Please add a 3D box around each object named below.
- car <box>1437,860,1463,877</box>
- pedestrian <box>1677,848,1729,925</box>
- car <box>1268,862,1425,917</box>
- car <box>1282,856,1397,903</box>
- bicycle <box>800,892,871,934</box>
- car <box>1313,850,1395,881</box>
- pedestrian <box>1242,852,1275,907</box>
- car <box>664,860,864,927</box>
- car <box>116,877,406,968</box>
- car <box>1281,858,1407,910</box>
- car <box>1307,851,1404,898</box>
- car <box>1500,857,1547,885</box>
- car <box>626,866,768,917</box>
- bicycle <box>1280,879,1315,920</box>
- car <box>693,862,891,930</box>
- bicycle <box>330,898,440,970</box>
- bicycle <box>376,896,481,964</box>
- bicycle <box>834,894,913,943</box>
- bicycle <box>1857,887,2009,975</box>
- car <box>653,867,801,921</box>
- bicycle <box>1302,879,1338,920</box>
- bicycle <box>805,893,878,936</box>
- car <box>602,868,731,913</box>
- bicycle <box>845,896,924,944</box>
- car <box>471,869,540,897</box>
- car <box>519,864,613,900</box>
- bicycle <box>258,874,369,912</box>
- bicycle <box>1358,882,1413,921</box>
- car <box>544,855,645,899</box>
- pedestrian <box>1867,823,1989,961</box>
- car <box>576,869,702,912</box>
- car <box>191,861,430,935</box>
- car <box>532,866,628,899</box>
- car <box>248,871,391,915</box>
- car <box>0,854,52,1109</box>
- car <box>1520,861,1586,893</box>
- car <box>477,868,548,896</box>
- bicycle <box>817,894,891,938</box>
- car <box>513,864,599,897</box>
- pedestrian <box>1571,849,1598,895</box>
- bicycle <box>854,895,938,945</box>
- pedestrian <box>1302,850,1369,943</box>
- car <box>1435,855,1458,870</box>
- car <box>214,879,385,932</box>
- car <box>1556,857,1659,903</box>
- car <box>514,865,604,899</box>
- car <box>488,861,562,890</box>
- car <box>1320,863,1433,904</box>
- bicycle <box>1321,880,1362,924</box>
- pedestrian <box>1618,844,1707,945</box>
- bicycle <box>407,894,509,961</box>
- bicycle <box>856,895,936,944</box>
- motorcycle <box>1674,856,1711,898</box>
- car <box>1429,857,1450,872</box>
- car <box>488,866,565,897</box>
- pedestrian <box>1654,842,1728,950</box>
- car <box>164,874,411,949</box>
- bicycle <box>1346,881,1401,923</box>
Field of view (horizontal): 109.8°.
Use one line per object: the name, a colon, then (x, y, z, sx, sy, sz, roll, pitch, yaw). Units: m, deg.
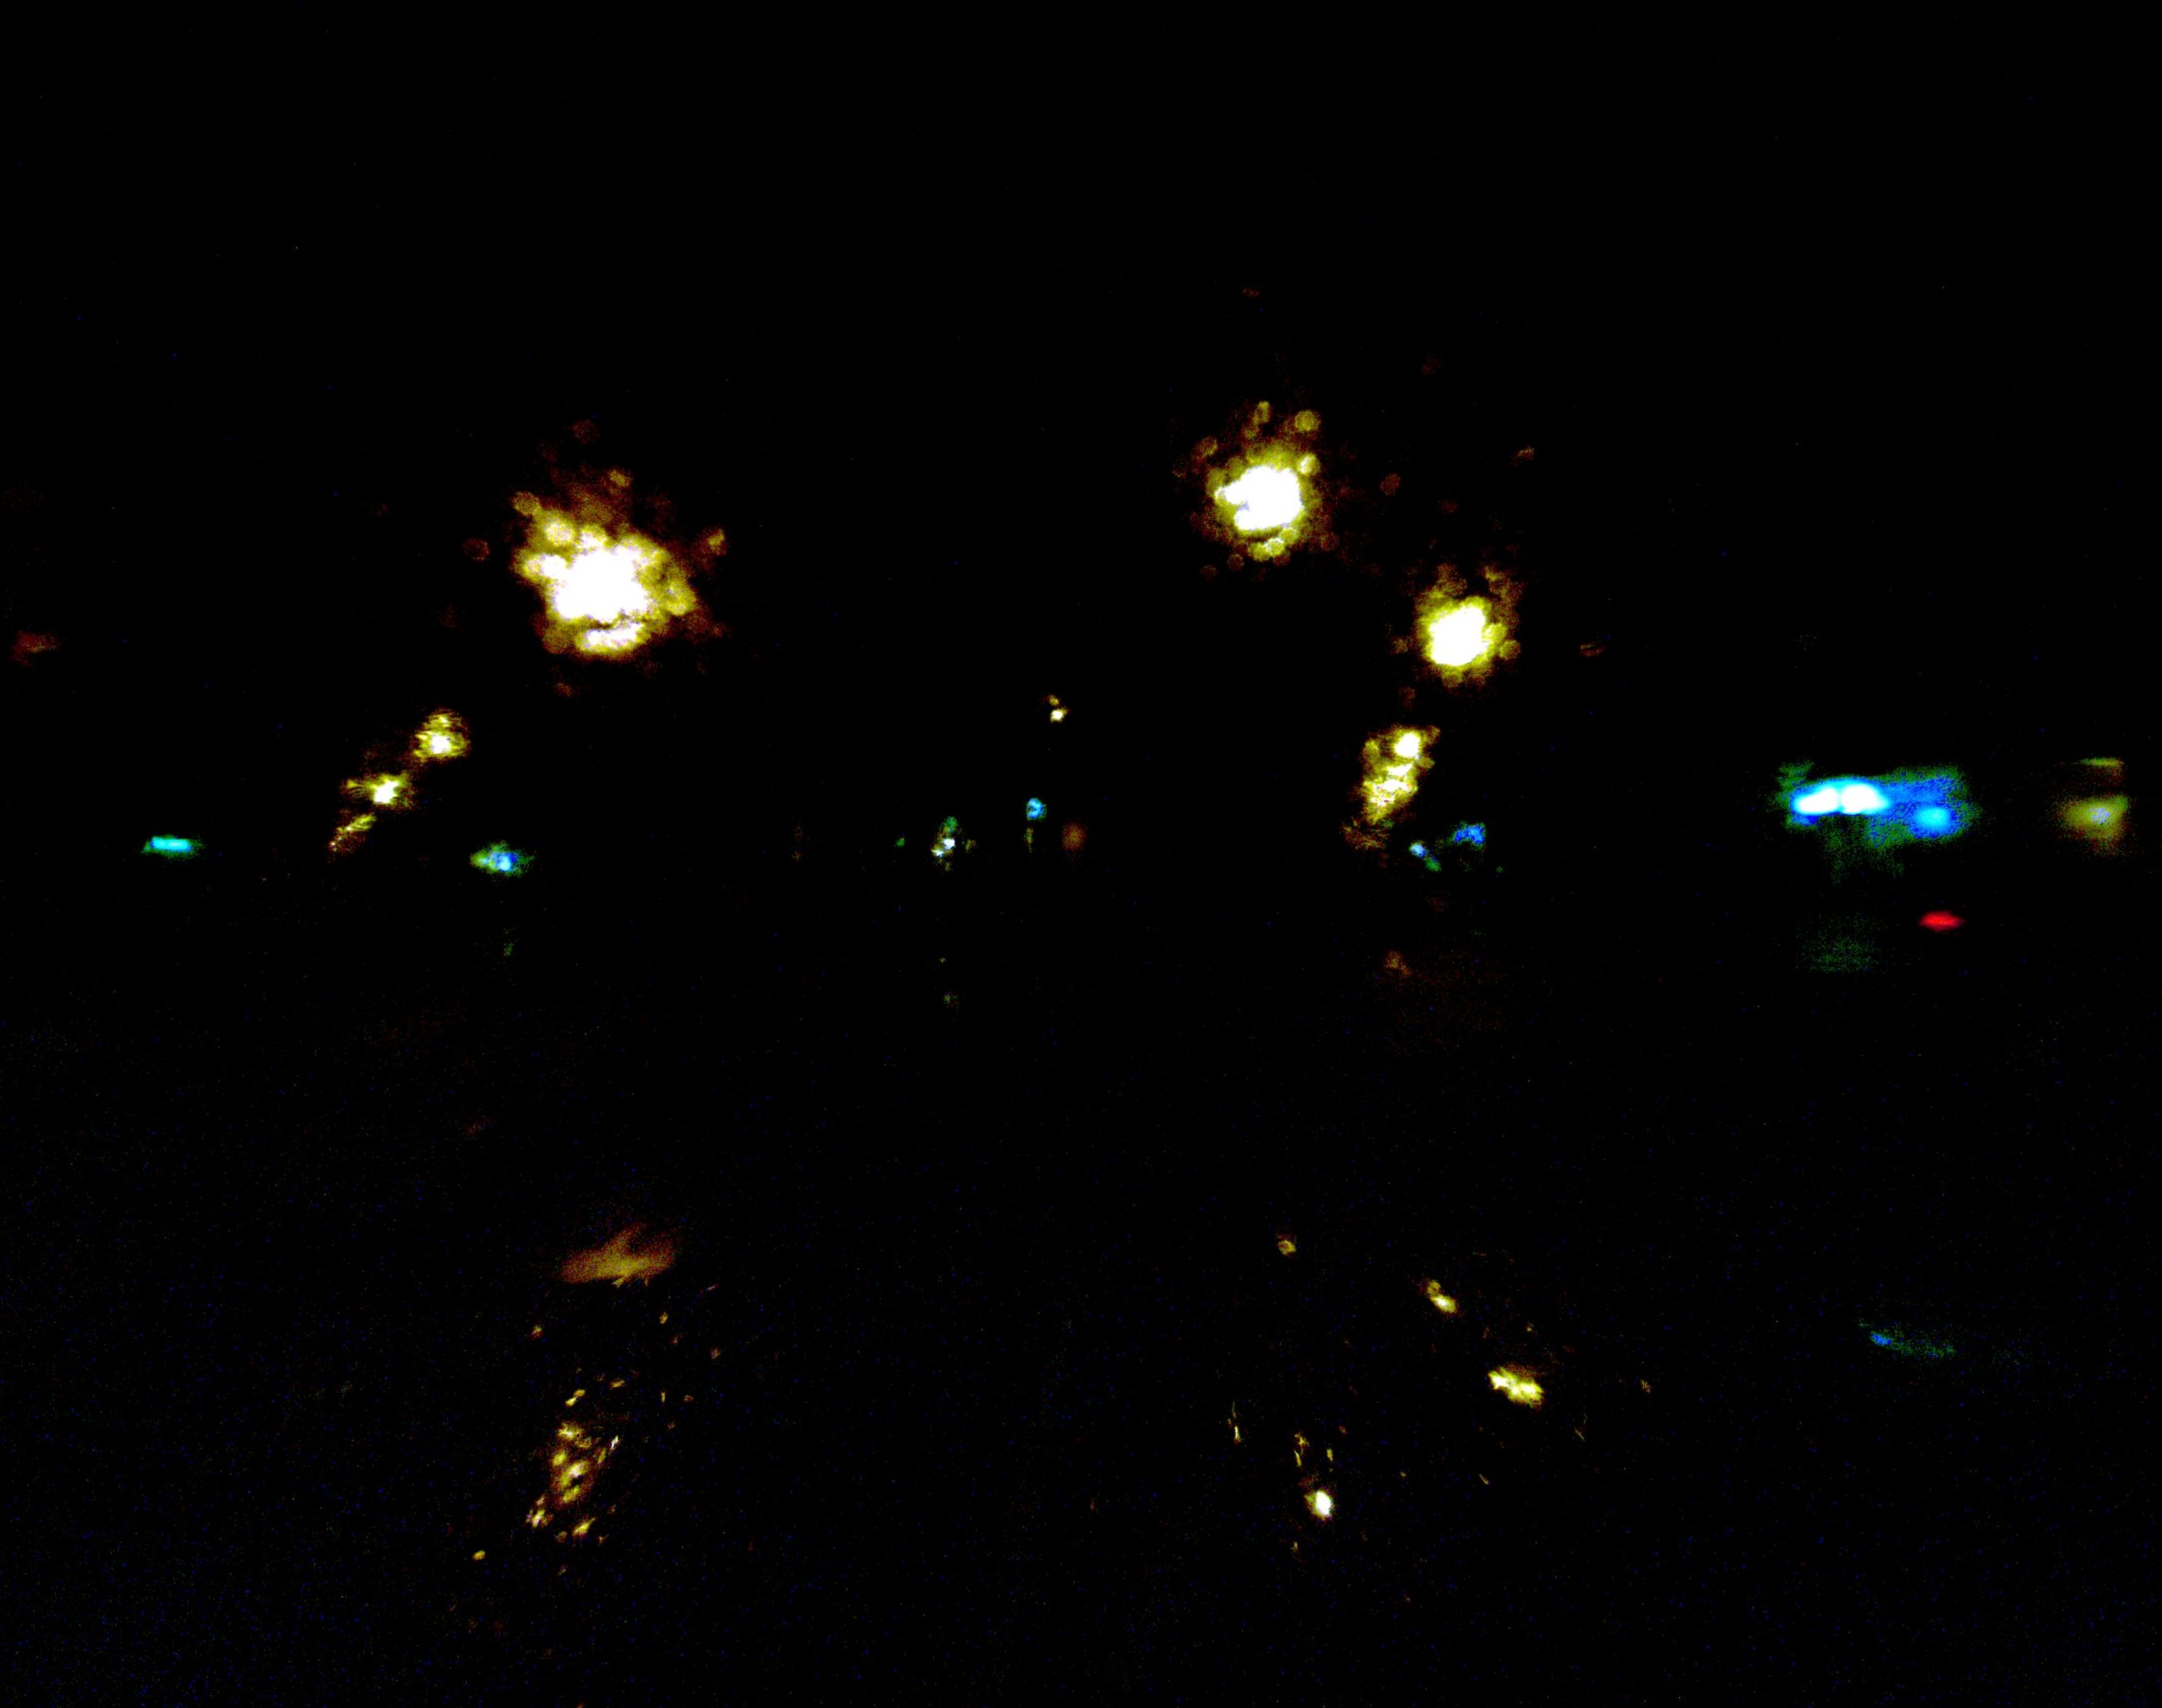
car: (35.656, 1.372, 73.450, 1.849, 1.469, 3.741, -3, -1, 20)
pedestrian: (14.544, 0.752, 17.783, 0.827, 1.760, 0.601, -2, -1, 32)
car: (8.192, 1.082, 23.592, 4.263, 1.564, 1.770, 1, 0, -8)
car: (9.802, 0.956, 28.877, 3.795, 1.702, 1.746, 1, 0, -14)
bicycle: (-6.452, 1.532, 20.045, 0.402, 1.002, 1.781, -1, -1, 45)
car: (18.051, 0.767, 50.395, 4.712, 1.968, 1.978, 1, 0, -9)
pedestrian: (6.065, 0.853, 25.983, 0.789, 1.807, 0.812, 0, 2, 45)
car: (-9.983, 1.170, 24.347, 1.995, 1.878, 5.560, -3, -2, 43)
car: (-16.962, 1.348, 15.973, 1.753, 1.568, 3.698, -3, -1, 19)
car: (9.108, 1.033, 26.414, 3.742, 1.702, 1.769, 1, 0, -14)
car: (12.340, 0.904, 34.204, 3.742, 2.016, 1.719, 1, 0, -15)
car: (24.536, 0.916, 42.228, 1.718, 1.469, 3.792, -3, -1, 22)
car: (-14.854, 1.416, 29.571, 1.995, 1.752, 4.472, -3, -2, 43)
bicycle: (5.981, 1.250, 21.046, 0.336, 1.020, 1.645, 0, 0, -6)
car: (-8.415, 1.164, 22.543, 1.995, 1.752, 5.108, -3, -2, 43)
bicycle: (-12.091, 1.386, 13.196, 1.961, 1.169, 0.453, -3, 0, 17)
bicycle: (-11.907, 1.388, 13.861, 1.961, 1.169, 0.453, -3, 0, 17)
bicycle: (-4.867, 1.493, 17.886, 0.402, 1.002, 1.814, -2, -1, 45)
bicycle: (11.680, 1.005, 10.506, 0.713, 1.053, 1.805, -1, -1, 24)
car: (-12.908, 1.409, 27.886, 1.995, 1.752, 4.472, -3, -2, 43)
bicycle: (6.645, 1.257, 21.203, 0.336, 1.086, 1.646, 0, -1, -6)
bicycle: (-6.151, 1.537, 19.568, 0.402, 1.002, 1.814, -1, -1, 45)
car: (-17.899, 1.551, 32.927, 1.995, 1.752, 4.472, -3, -2, 43)
bicycle: (-4.521, 1.491, 17.571, 0.378, 1.002, 1.814, -1, -1, 45)
car: (-43.544, 2.156, 57.536, 4.009, 2.001, 1.994, 1, -1, -43)
car: (-28.404, 1.547, 41.973, 4.008, 1.762, 1.995, -2, -1, -41)
bicycle: (-44.092, 2.197, 43.774, 1.996, 2.001, 4.006, -2, -1, 20)
bicycle: (8.538, 1.319, 21.345, 0.336, 1.020, 1.643, 1, -1, -26)
car: (-24.664, 1.162, 38.574, 4.008, 2.001, 1.995, -2, -2, -41)
pedestrian: (11.678, 0.505, 10.524, 0.713, 1.800, 1.127, -1, -1, 24)
car: (-19.820, 1.594, 34.187, 1.995, 1.752, 4.472, -3, -2, 43)
car: (-18.773, 1.008, 18.744, 1.753, 1.568, 3.698, -3, -1, 19)
car: (-26.665, 1.521, 40.500, 4.008, 1.542, 1.995, -2, -1, -41)
car: (-31.004, 1.559, 31.068, 1.753, 1.568, 3.698, -3, -1, 19)
car: (-8.401, 0.927, 5.555, 0.879, 1.830, 0.961, 0, -2, -44)
car: (23.066, 1.083, 37.285, 1.718, 1.469, 4.166, -2, -1, 17)
car: (-41.540, 2.028, 55.567, 4.009, 2.001, 1.994, 1, -1, -43)
bicycle: (-5.704, 1.540, 19.177, 0.402, 1.002, 1.814, -1, -1, 45)
car: (-31.619, 1.604, 45.791, 4.008, 1.761, 1.995, -2, -1, -41)
pedestrian: (24.458, 0.865, 36.941, 0.800, 2.227, 1.118, -1, 0, 19)
bicycle: (-4.042, 1.430, 16.729, 0.454, 1.002, 1.814, -1, -1, 45)
pedestrian: (5.241, 0.850, 15.666, 0.985, 1.822, 0.877, -1, 0, -34)
car: (40.399, 0.916, 84.123, 1.849, 1.571, 3.741, -3, -1, 20)
car: (-27.033, 1.731, 26.434, 1.753, 1.568, 3.698, -3, -1, 19)
car: (18.836, 0.884, 27.448, 1.849, 1.469, 5.039, -2, -1, 20)
car: (-30.014, 1.596, 43.764, 4.008, 1.761, 1.995, -2, -1, -41)
car: (-39.236, 1.495, 53.694, 4.009, 2.001, 1.994, 1, -1, -43)
car: (12.253, 1.212, 31.599, 4.075, 1.588, 1.832, 1, 0, -14)
bicycle: (7.185, 1.302, 21.020, 0.336, 1.021, 1.644, -1, 3, -10)
pedestrian: (11.233, 0.748, 14.741, 0.956, 1.852, 1.417, -1, 0, 19)
bicycle: (-11.782, 1.390, 14.354, 1.961, 1.169, 0.453, -3, 0, 17)
bicycle: (-4.184, 1.471, 17.264, 0.402, 1.002, 1.814, -1, -1, 45)
motorcycle: (22.045, 0.820, 27.403, 0.537, 1.462, 1.460, -2, -1, 20)
car: (41.975, 1.218, 89.010, 1.849, 1.571, 3.741, -3, -1, 20)
car: (-37.571, 1.851, 51.488, 4.009, 2.001, 1.994, 1, -1, -43)
pedestrian: (10.755, 0.725, 13.431, 0.675, 1.821, 1.079, -2, -1, 22)
car: (-20.730, 1.433, 20.113, 1.753, 1.653, 4.113, -3, -1, 19)
bicycle: (8.060, 1.306, 21.019, 0.336, 1.020, 1.642, 1, 1, -24)
